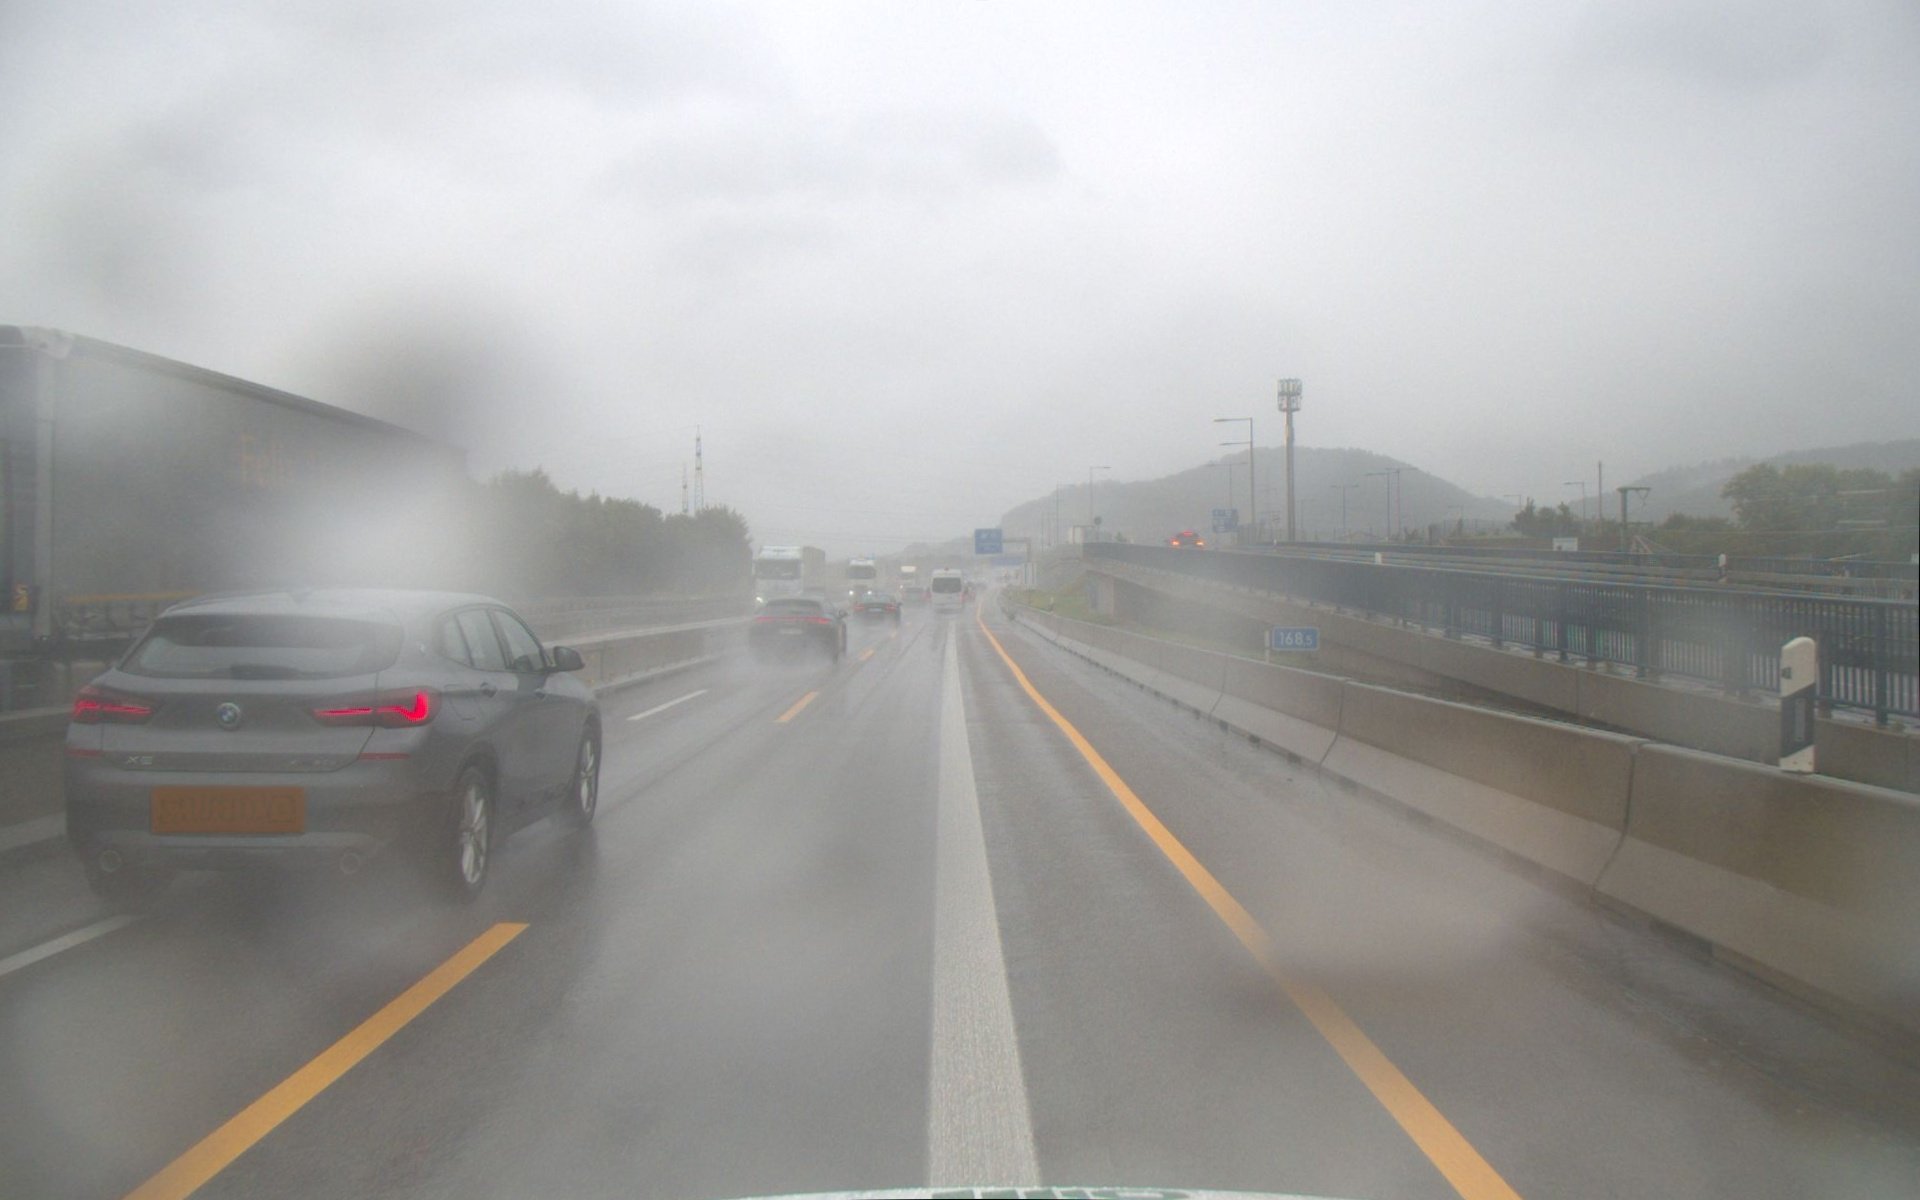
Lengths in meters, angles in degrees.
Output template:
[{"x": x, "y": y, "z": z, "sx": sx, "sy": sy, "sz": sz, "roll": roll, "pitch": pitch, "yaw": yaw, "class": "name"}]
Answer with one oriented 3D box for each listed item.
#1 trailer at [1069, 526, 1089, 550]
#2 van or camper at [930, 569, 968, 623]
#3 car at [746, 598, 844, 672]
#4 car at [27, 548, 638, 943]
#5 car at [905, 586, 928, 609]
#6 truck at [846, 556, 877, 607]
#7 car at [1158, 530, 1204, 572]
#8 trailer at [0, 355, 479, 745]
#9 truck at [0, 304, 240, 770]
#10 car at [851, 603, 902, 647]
[{"x": 14.286, "y": -7.427, "z": 198.805, "sx": 1.952, "sy": 2.143, "sz": 13.771, "roll": 1, "pitch": -1, "yaw": 2, "class": "trailer"}, {"x": -0.616, "y": -0.186, "z": 89.535, "sx": 1.956, "sy": 2.826, "sz": 4.048, "roll": 1, "pitch": -1, "yaw": -1, "class": "van or camper"}, {"x": -3.591, "y": 0.757, "z": 36.590, "sx": 1.807, "sy": 1.517, "sz": 4.260, "roll": 1, "pitch": -1, "yaw": -1, "class": "car"}, {"x": -3.055, "y": 0.587, "z": 9.248, "sx": 1.666, "sy": 1.626, "sz": 4.844, "roll": 0, "pitch": 0, "yaw": -1, "class": "car"}, {"x": -3.072, "y": -0.164, "z": 117.620, "sx": 1.535, "sy": 1.506, "sz": 2.821, "roll": -2, "pitch": -1, "yaw": -1, "class": "car"}, {"x": -9.306, "y": -1.721, "z": 156.786, "sx": 2.507, "sy": 4.684, "sz": 6.452, "roll": 1, "pitch": -1, "yaw": 1, "class": "truck"}, {"x": 12.363, "y": -2.711, "z": 92.635, "sx": 1.953, "sy": 2.180, "sz": 3.999, "roll": 1, "pitch": -1, "yaw": -1, "class": "car"}, {"x": -10.030, "y": -0.486, "z": 23.952, "sx": 2.596, "sy": 4.181, "sz": 12.312, "roll": 1, "pitch": -1, "yaw": -1, "class": "trailer"}, {"x": -9.953, "y": -0.561, "z": 16.496, "sx": 2.588, "sy": 4.199, "sz": 6.694, "roll": 1, "pitch": -1, "yaw": -1, "class": "truck"}, {"x": -3.192, "y": 0.929, "z": 64.101, "sx": 1.807, "sy": 1.517, "sz": 4.261, "roll": -2, "pitch": 1, "yaw": -1, "class": "car"}]
